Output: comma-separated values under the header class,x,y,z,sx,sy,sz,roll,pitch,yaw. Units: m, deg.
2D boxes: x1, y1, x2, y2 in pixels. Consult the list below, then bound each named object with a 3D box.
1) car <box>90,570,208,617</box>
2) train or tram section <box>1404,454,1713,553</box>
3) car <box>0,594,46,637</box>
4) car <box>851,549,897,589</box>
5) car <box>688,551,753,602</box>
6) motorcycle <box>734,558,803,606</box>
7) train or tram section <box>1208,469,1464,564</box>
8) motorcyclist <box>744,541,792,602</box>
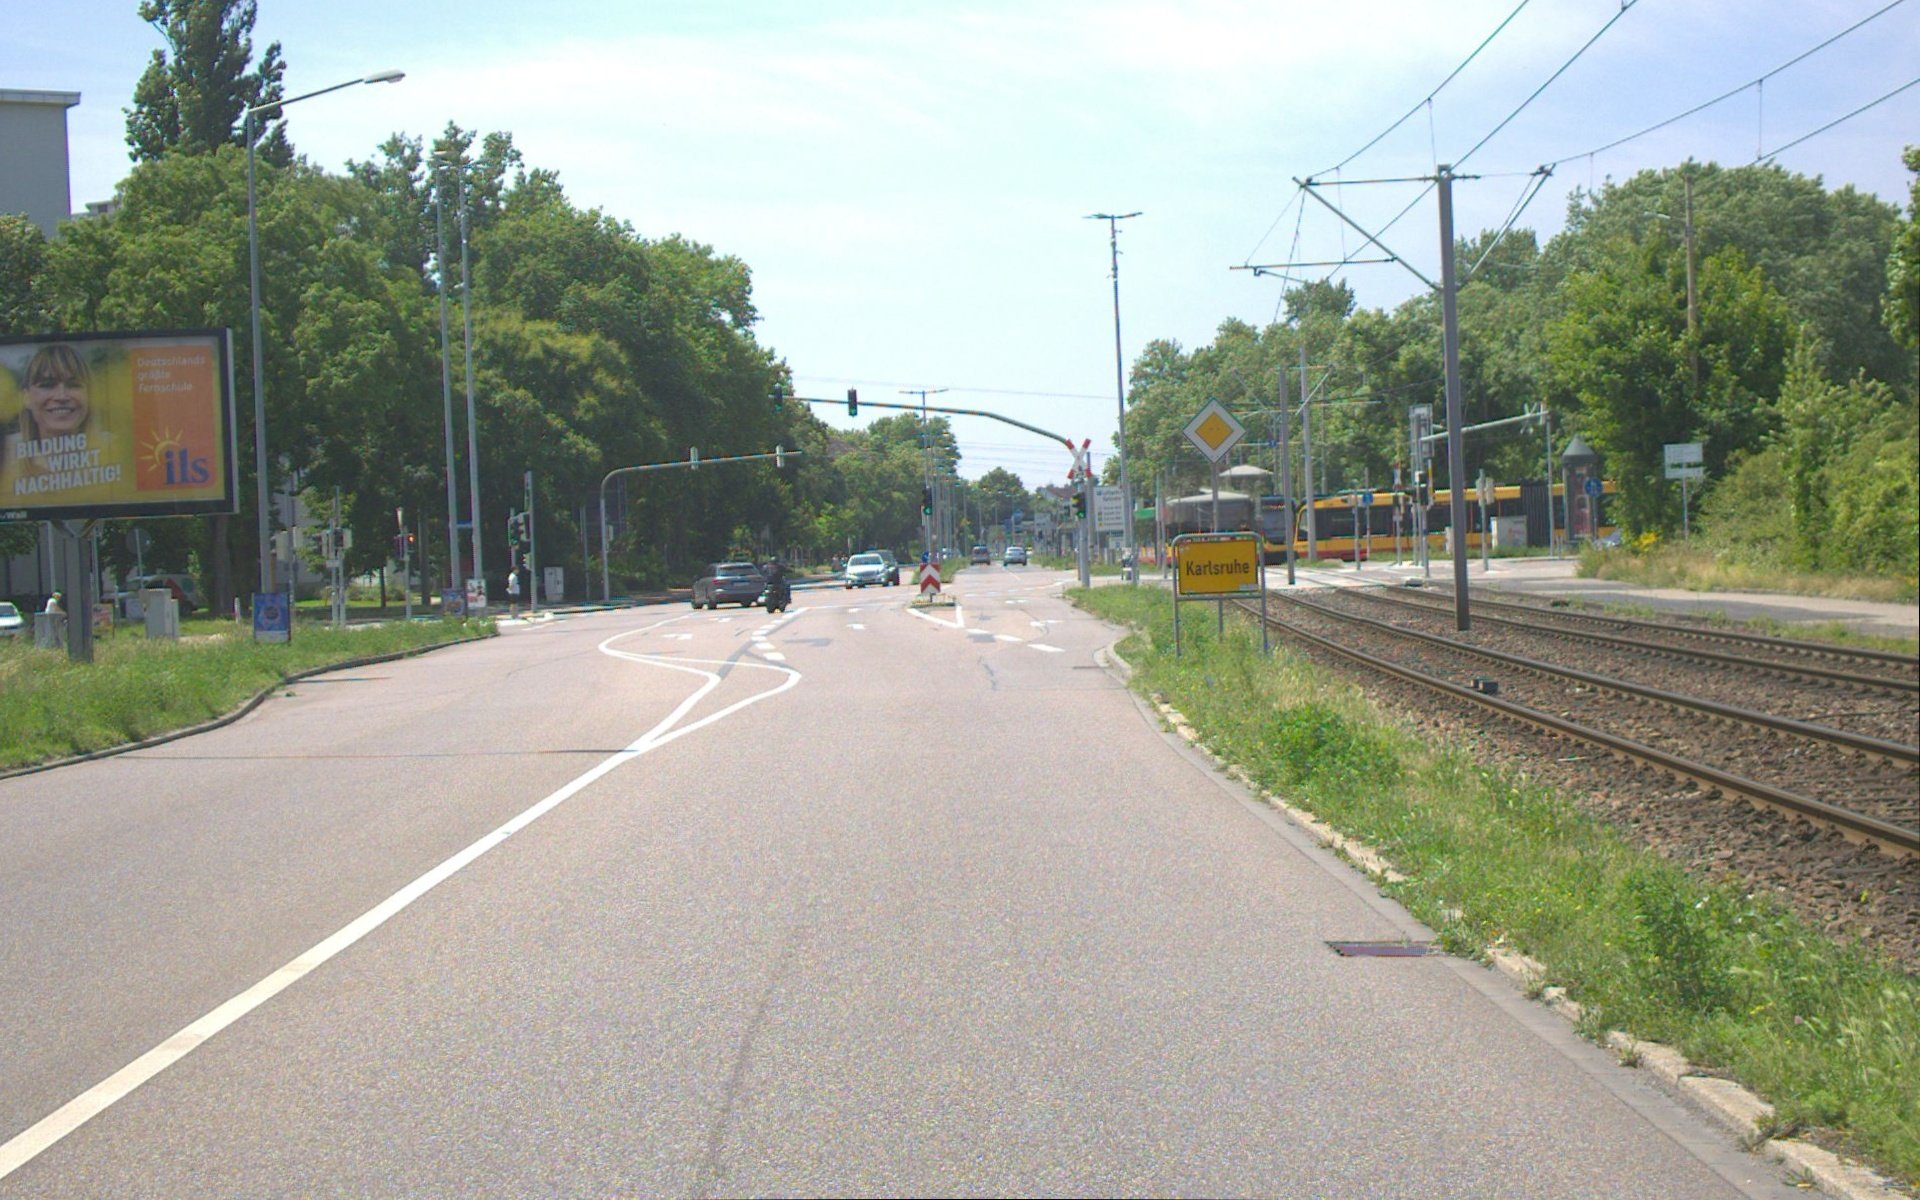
class,x,y,z,sx,sy,sz,roll,pitch,yaw
car,-33.748,-0.280,143.101,1.790,1.762,4.538,-2,1,41
train or tram section,28.264,-4.493,162.729,14.013,3.906,2.920,-2,-2,24
car,-32.482,0.517,118.144,1.623,1.375,4.001,-2,1,-21
car,-3.735,-1.363,150.351,1.784,1.623,3.865,-2,1,1
car,-7.445,-0.745,107.352,1.906,1.493,4.631,-1,1,-3
motorcycle,-5.231,-0.501,94.065,0.848,1.251,2.446,-1,1,23
train or tram section,18.350,-4.023,169.001,13.445,3.799,2.916,-3,-3,44
motorcyclist,-5.247,-0.792,93.988,0.791,1.637,1.209,-1,1,25
